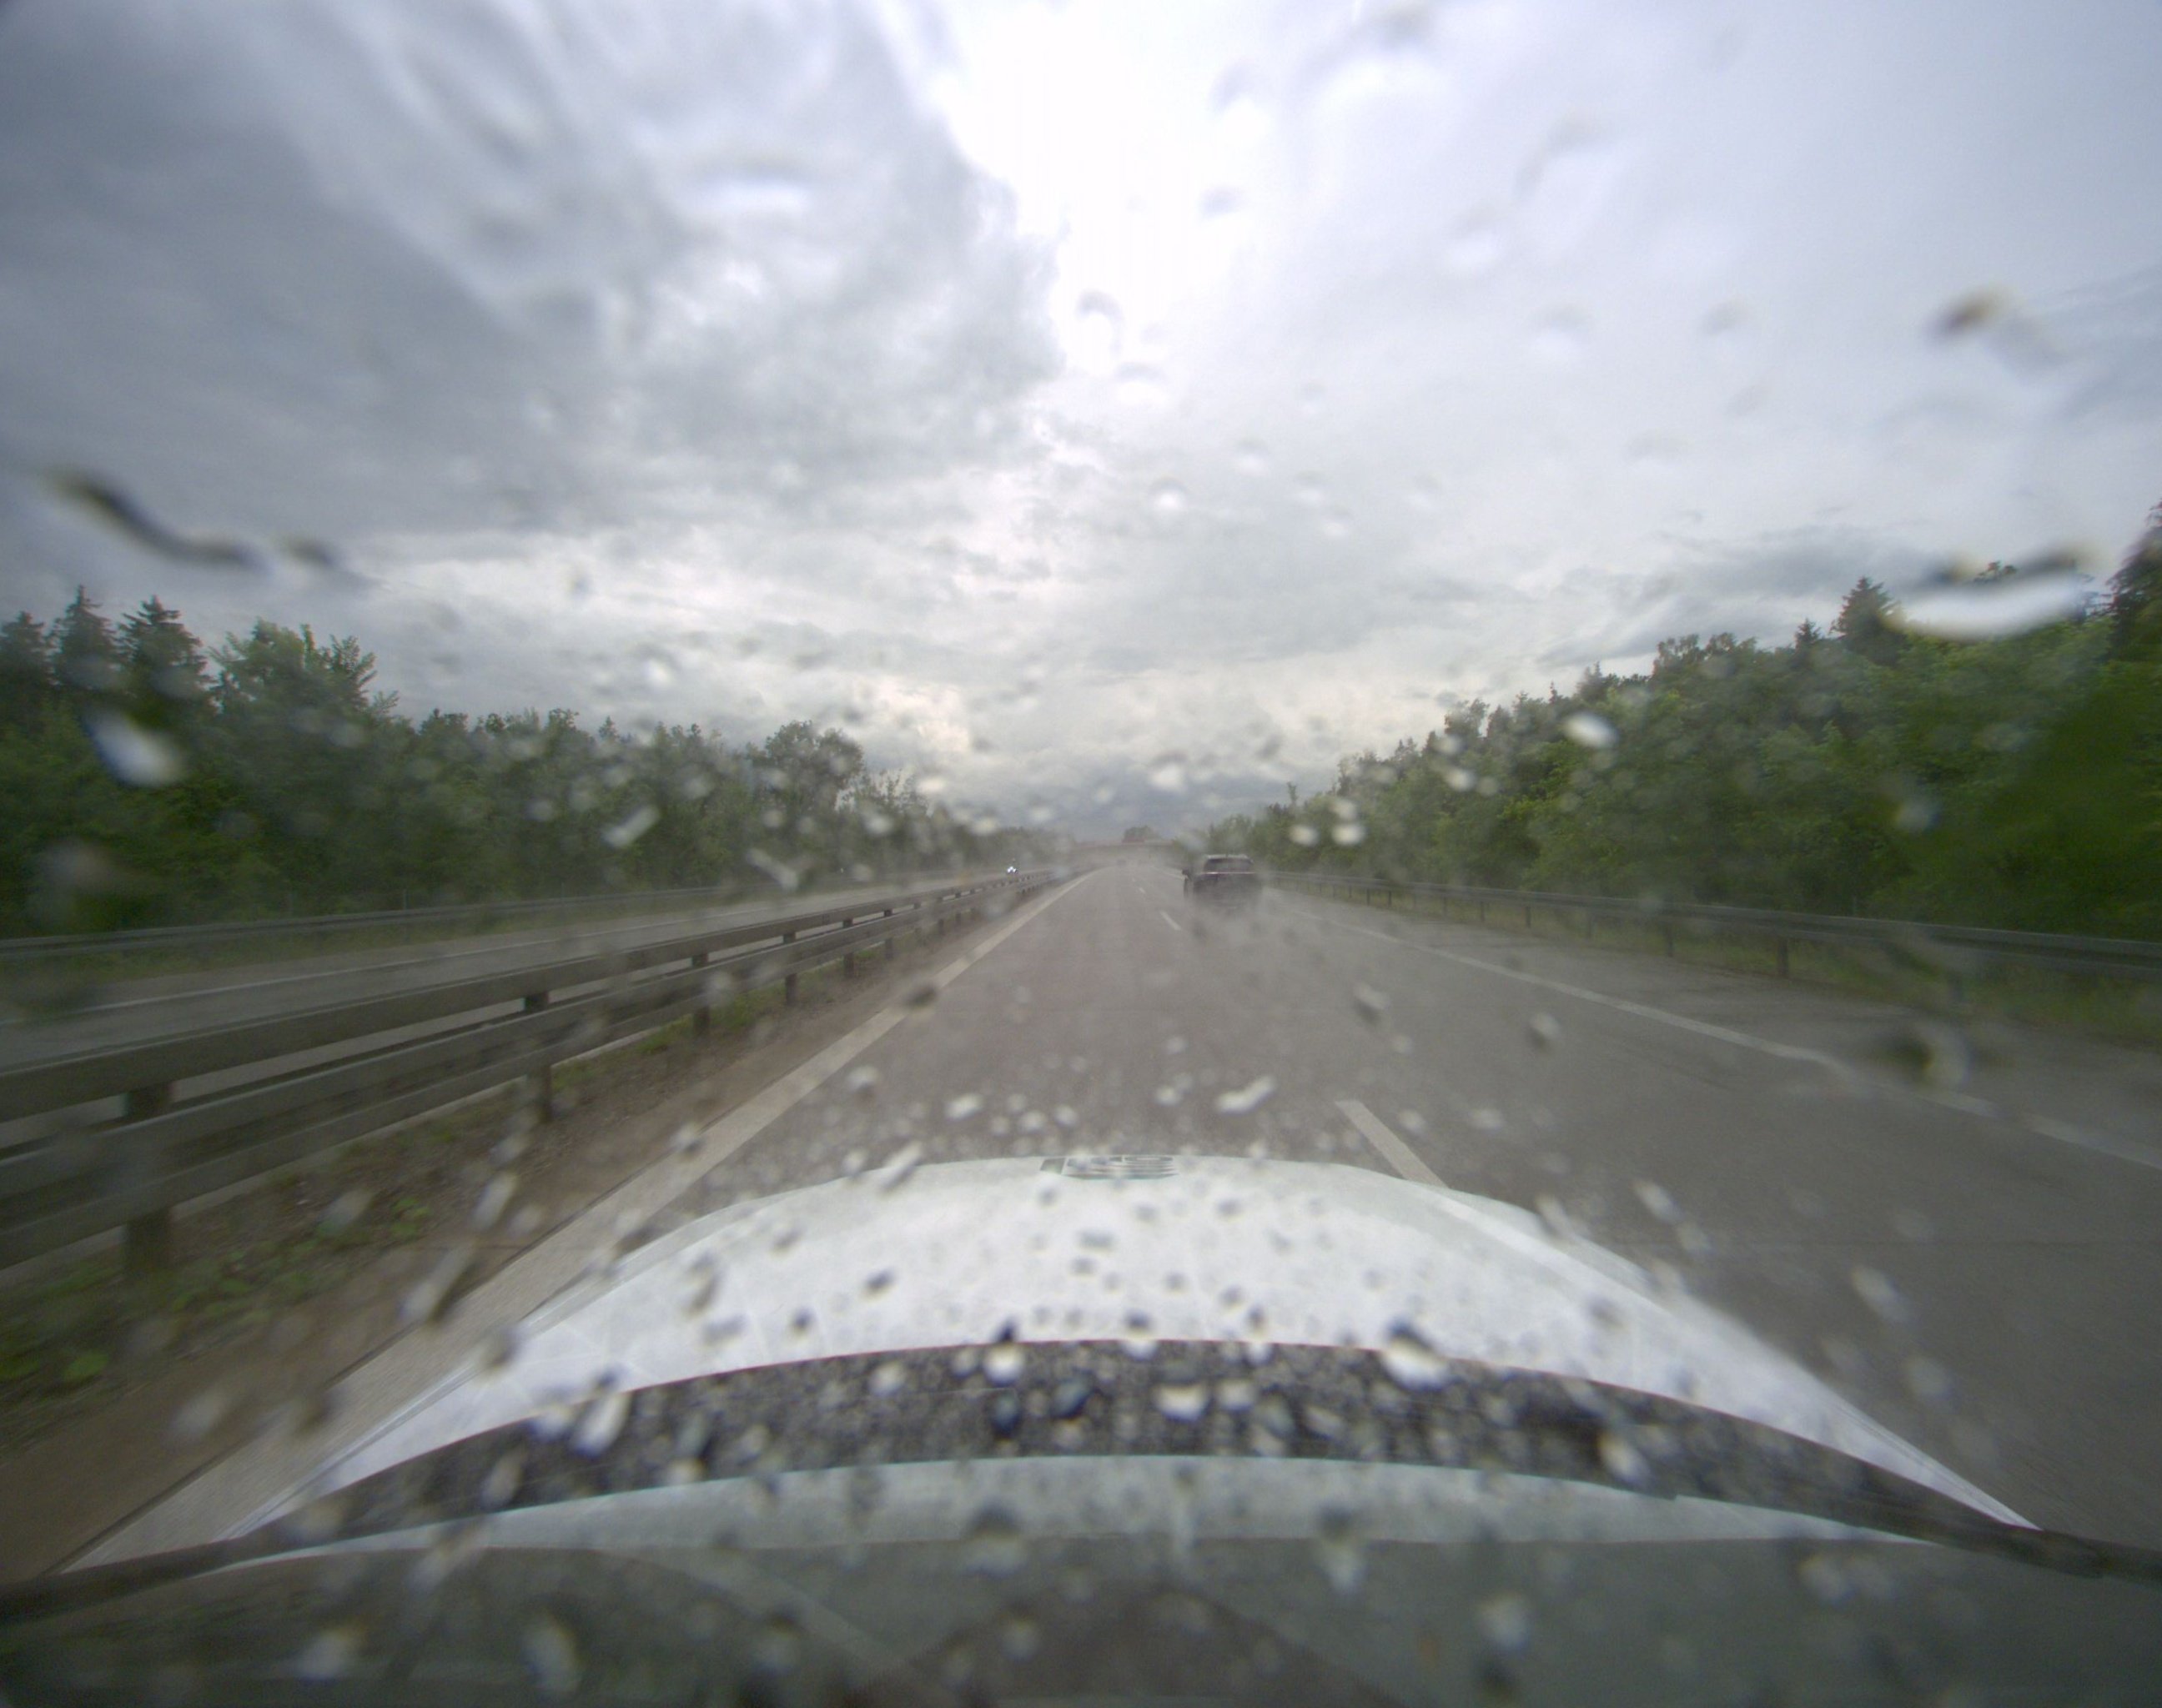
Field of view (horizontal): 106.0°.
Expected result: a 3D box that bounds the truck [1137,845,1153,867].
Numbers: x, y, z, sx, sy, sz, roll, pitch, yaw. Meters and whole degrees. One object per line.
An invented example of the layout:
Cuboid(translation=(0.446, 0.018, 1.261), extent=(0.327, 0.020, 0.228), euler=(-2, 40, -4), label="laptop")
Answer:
Cuboid(translation=(13.771, 0.437, 176.385), extent=(3.229, 4.437, 8.254), euler=(-1, 0, 4), label="truck")

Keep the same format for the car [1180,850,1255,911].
Cuboid(translation=(3.784, 0.722, 23.055), extent=(1.884, 1.576, 3.638), euler=(-1, -1, 6), label="car")

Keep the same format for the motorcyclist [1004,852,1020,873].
Cuboid(translation=(-4.776, 0.581, 56.407), extent=(1.011, 1.432, 0.920), euler=(0, -1, -1), label="motorcyclist")

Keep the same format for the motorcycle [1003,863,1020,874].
Cuboid(translation=(-4.775, 0.983, 56.334), extent=(1.018, 0.725, 2.279), euler=(0, -1, -1), label="motorcycle")
